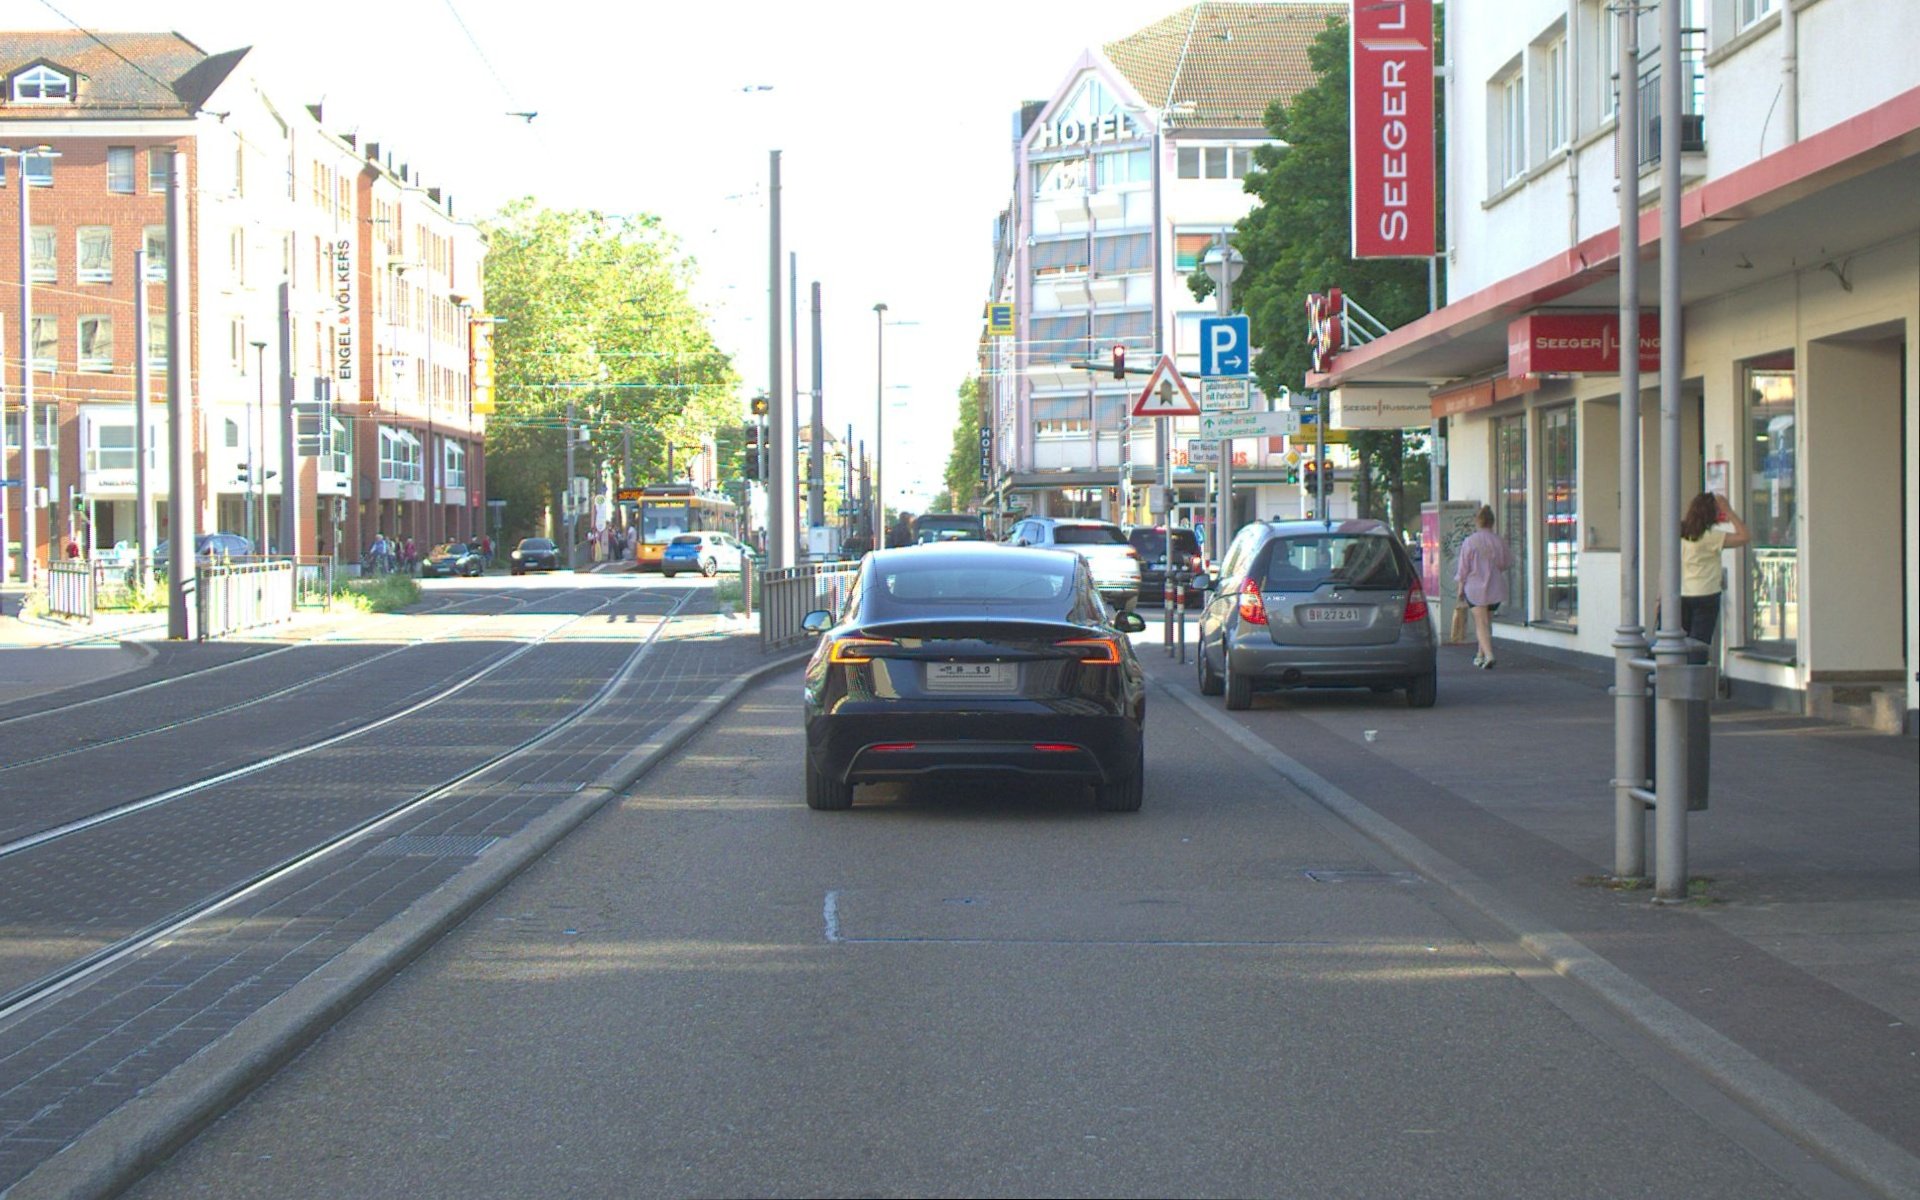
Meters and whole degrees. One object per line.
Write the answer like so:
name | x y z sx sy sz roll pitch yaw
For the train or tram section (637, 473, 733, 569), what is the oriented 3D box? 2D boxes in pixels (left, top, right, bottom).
train or tram section | -11.298 -3.230 142.568 2.674 3.703 14.193 1 1 0

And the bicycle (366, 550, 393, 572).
bicycle | -22.876 -1.539 135.455 0.702 0.852 2.053 -1 1 0

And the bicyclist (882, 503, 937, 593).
bicyclist | -0.855 -0.887 58.588 0.836 1.494 0.560 2 1 -8

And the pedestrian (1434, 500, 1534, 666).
pedestrian | 5.426 -0.176 35.604 0.818 1.677 0.714 2 1 23

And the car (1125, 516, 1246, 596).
car | 4.506 -0.887 69.143 1.824 1.514 3.650 2 1 -5

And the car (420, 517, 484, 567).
car | -20.682 -2.376 140.117 1.993 2.007 4.000 0 1 0

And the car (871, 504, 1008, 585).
car | -0.449 -1.115 68.810 1.824 1.514 4.219 1 1 -13

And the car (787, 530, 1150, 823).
car | 0.005 0.370 19.649 1.849 1.479 3.787 1 1 -1

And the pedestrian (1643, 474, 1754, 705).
pedestrian | 5.784 -0.084 26.900 0.804 1.768 0.932 0 1 14

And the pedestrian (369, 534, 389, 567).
pedestrian | -22.883 -1.945 135.342 0.696 1.303 0.564 -1 1 -1

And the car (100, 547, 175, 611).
car | -20.396 -0.542 85.315 1.764 1.506 4.281 0 1 -13

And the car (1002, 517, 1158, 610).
car | 2.047 -0.646 59.931 1.783 1.514 4.219 1 1 -11

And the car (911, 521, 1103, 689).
car | 0.434 -0.002 32.171 1.653 1.413 4.000 1 2 1

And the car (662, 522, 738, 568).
car | -8.568 -1.805 113.474 1.994 1.415 4.000 2 1 3

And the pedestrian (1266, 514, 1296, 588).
pedestrian | 7.019 -1.078 75.195 0.629 1.608 0.643 1 1 4

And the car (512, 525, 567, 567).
car | -17.471 -2.242 142.939 1.751 1.645 4.000 2 1 0

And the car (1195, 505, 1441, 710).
car | 3.048 0.017 29.896 1.745 1.626 3.649 -2 1 0

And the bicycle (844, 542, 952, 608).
bicycle | -1.060 -0.429 58.552 1.727 1.084 0.678 2 1 -7
